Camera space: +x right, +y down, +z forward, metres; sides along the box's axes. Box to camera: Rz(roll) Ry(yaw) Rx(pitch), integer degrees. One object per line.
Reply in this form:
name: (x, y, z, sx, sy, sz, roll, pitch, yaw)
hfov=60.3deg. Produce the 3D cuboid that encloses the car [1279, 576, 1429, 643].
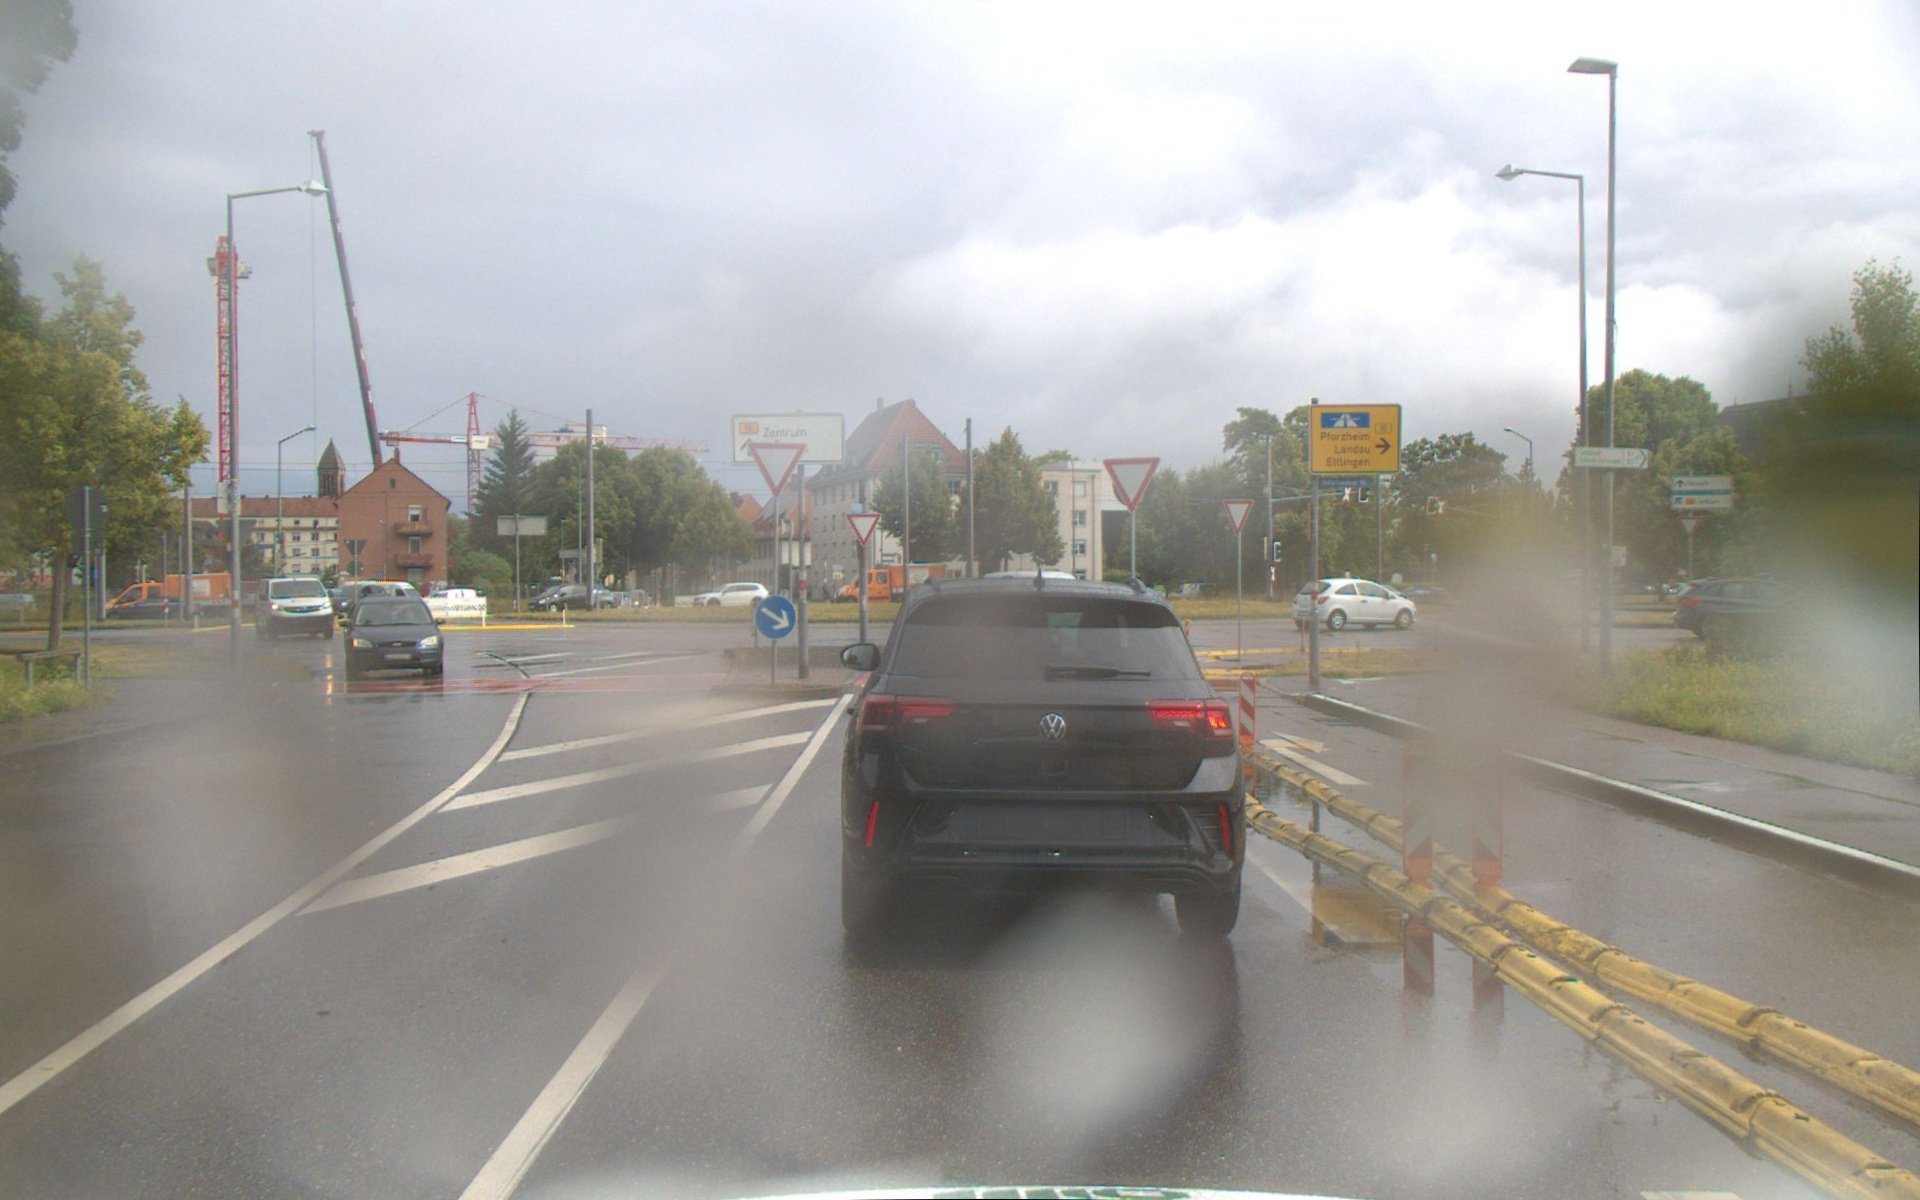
car: (11.600, 0.262, 48.756, 3.934, 1.862, 1.985, -1, 0, -24)

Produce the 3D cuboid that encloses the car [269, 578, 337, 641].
car: (-20.851, 0.271, 52.628, 1.861, 1.909, 5.102, -1, 0, -20)

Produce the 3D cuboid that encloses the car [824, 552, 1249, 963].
car: (0.197, 0.615, 8.344, 1.675, 1.601, 3.680, 0, 0, -4)

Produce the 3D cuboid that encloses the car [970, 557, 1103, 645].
car: (1.778, -0.004, 36.988, 1.825, 1.841, 4.405, 0, 1, 19)

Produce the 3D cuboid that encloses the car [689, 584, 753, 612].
car: (-14.204, -0.113, 98.307, 3.450, 1.612, 1.555, 0, 0, -25)

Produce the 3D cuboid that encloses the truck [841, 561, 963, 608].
truck: (-3.434, -0.926, 97.677, 6.937, 2.696, 2.324, 0, 0, -10)

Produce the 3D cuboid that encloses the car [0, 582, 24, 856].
car: (-6.150, 0.749, 7.533, 1.748, 1.579, 4.417, -3, 1, -9)

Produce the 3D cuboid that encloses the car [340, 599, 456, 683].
car: (-10.976, 0.771, 32.552, 1.843, 1.508, 4.161, -1, 0, -15)

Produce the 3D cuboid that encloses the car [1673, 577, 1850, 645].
car: (20.339, 0.268, 42.143, 3.859, 1.673, 1.672, 0, 0, 18)

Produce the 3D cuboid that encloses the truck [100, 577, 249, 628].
truck: (-40.800, 0.099, 86.072, 6.587, 2.485, 2.426, -1, 0, -14)

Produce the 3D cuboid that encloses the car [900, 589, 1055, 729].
car: (0.129, 0.640, 20.169, 1.700, 1.540, 3.602, 0, 1, -3)
